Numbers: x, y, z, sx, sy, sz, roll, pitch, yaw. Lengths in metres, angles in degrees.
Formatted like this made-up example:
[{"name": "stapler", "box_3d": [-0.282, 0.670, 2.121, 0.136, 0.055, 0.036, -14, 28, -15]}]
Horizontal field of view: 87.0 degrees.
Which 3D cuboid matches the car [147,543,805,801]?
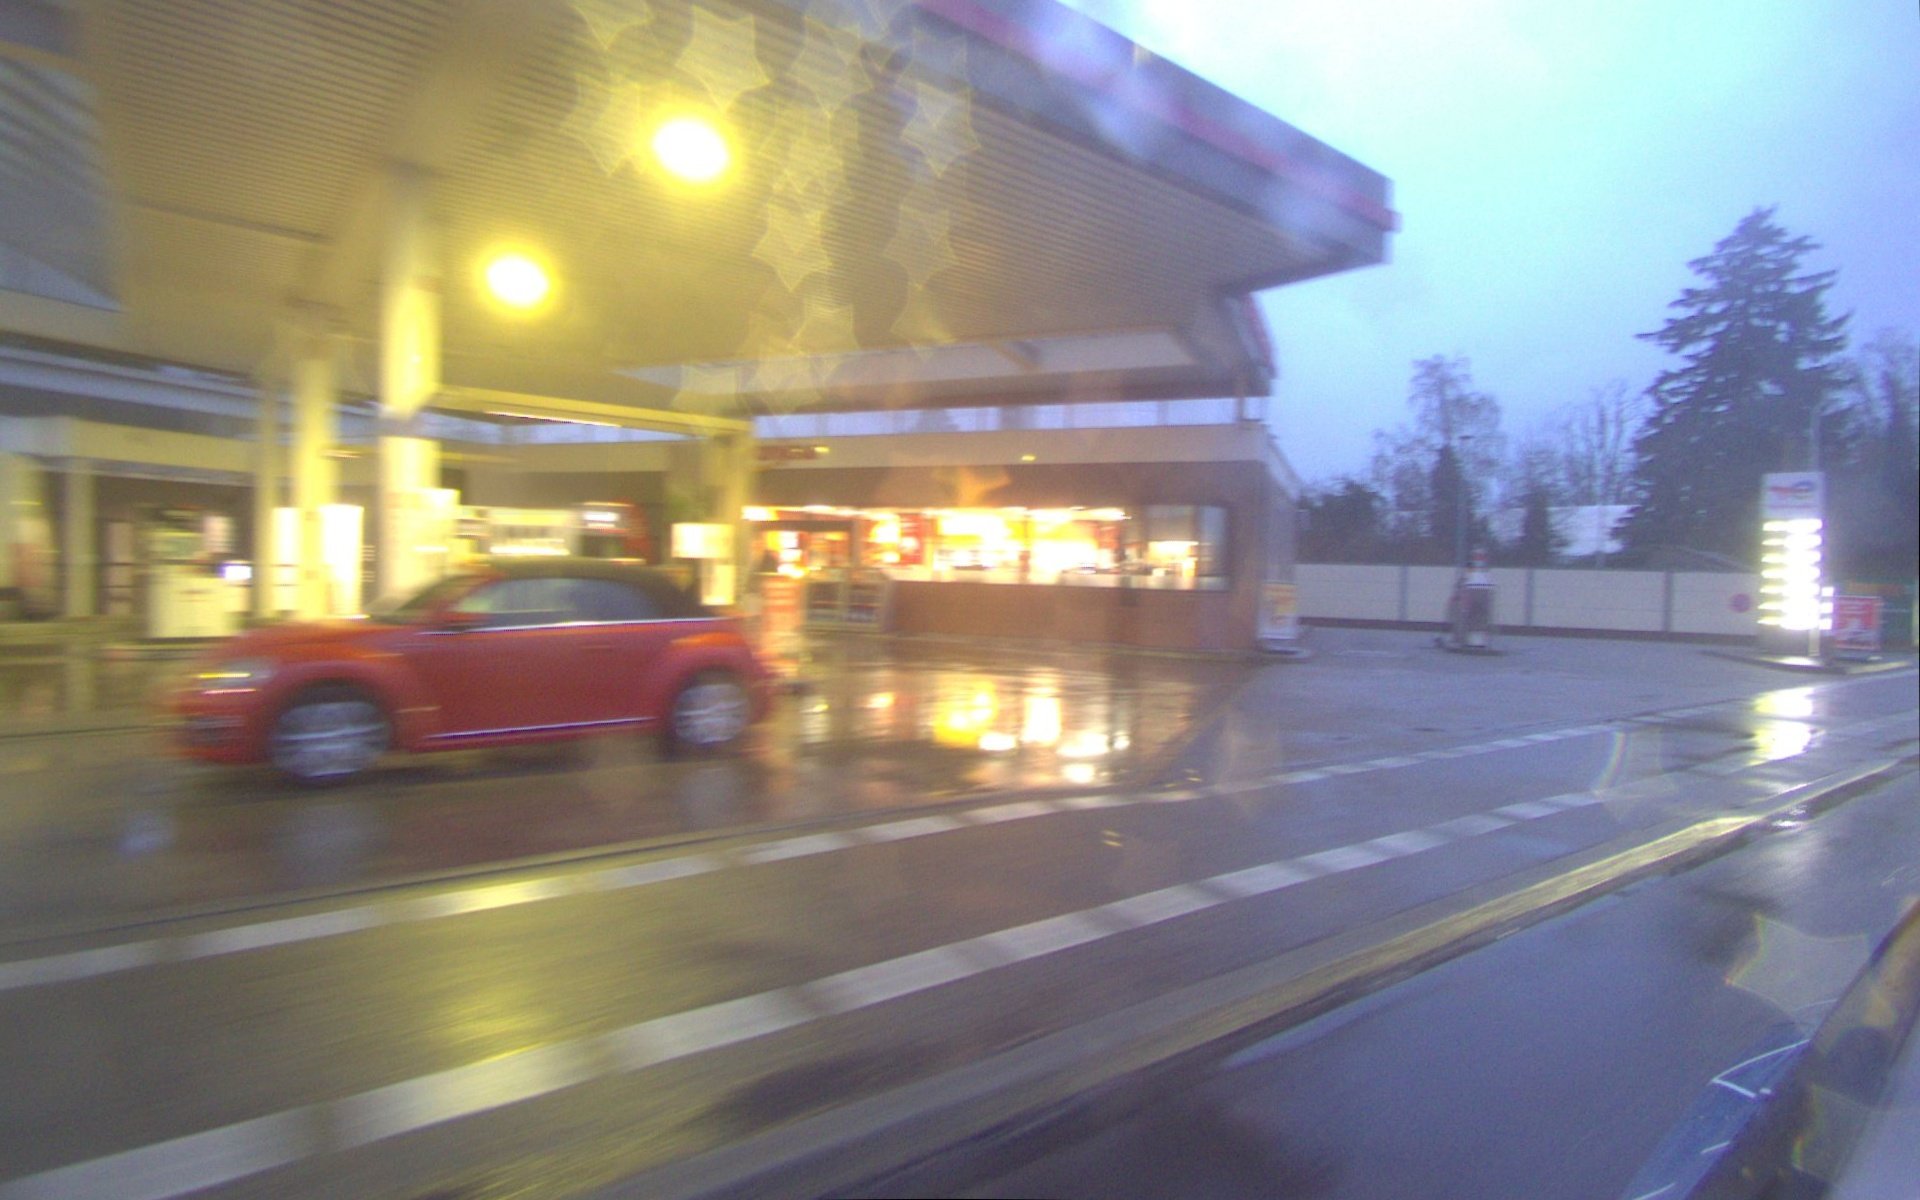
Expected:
[{"name": "car", "box_3d": [-3.350, 0.363, 7.483, 4.092, 1.413, 1.577, 0, 3, -38]}]
